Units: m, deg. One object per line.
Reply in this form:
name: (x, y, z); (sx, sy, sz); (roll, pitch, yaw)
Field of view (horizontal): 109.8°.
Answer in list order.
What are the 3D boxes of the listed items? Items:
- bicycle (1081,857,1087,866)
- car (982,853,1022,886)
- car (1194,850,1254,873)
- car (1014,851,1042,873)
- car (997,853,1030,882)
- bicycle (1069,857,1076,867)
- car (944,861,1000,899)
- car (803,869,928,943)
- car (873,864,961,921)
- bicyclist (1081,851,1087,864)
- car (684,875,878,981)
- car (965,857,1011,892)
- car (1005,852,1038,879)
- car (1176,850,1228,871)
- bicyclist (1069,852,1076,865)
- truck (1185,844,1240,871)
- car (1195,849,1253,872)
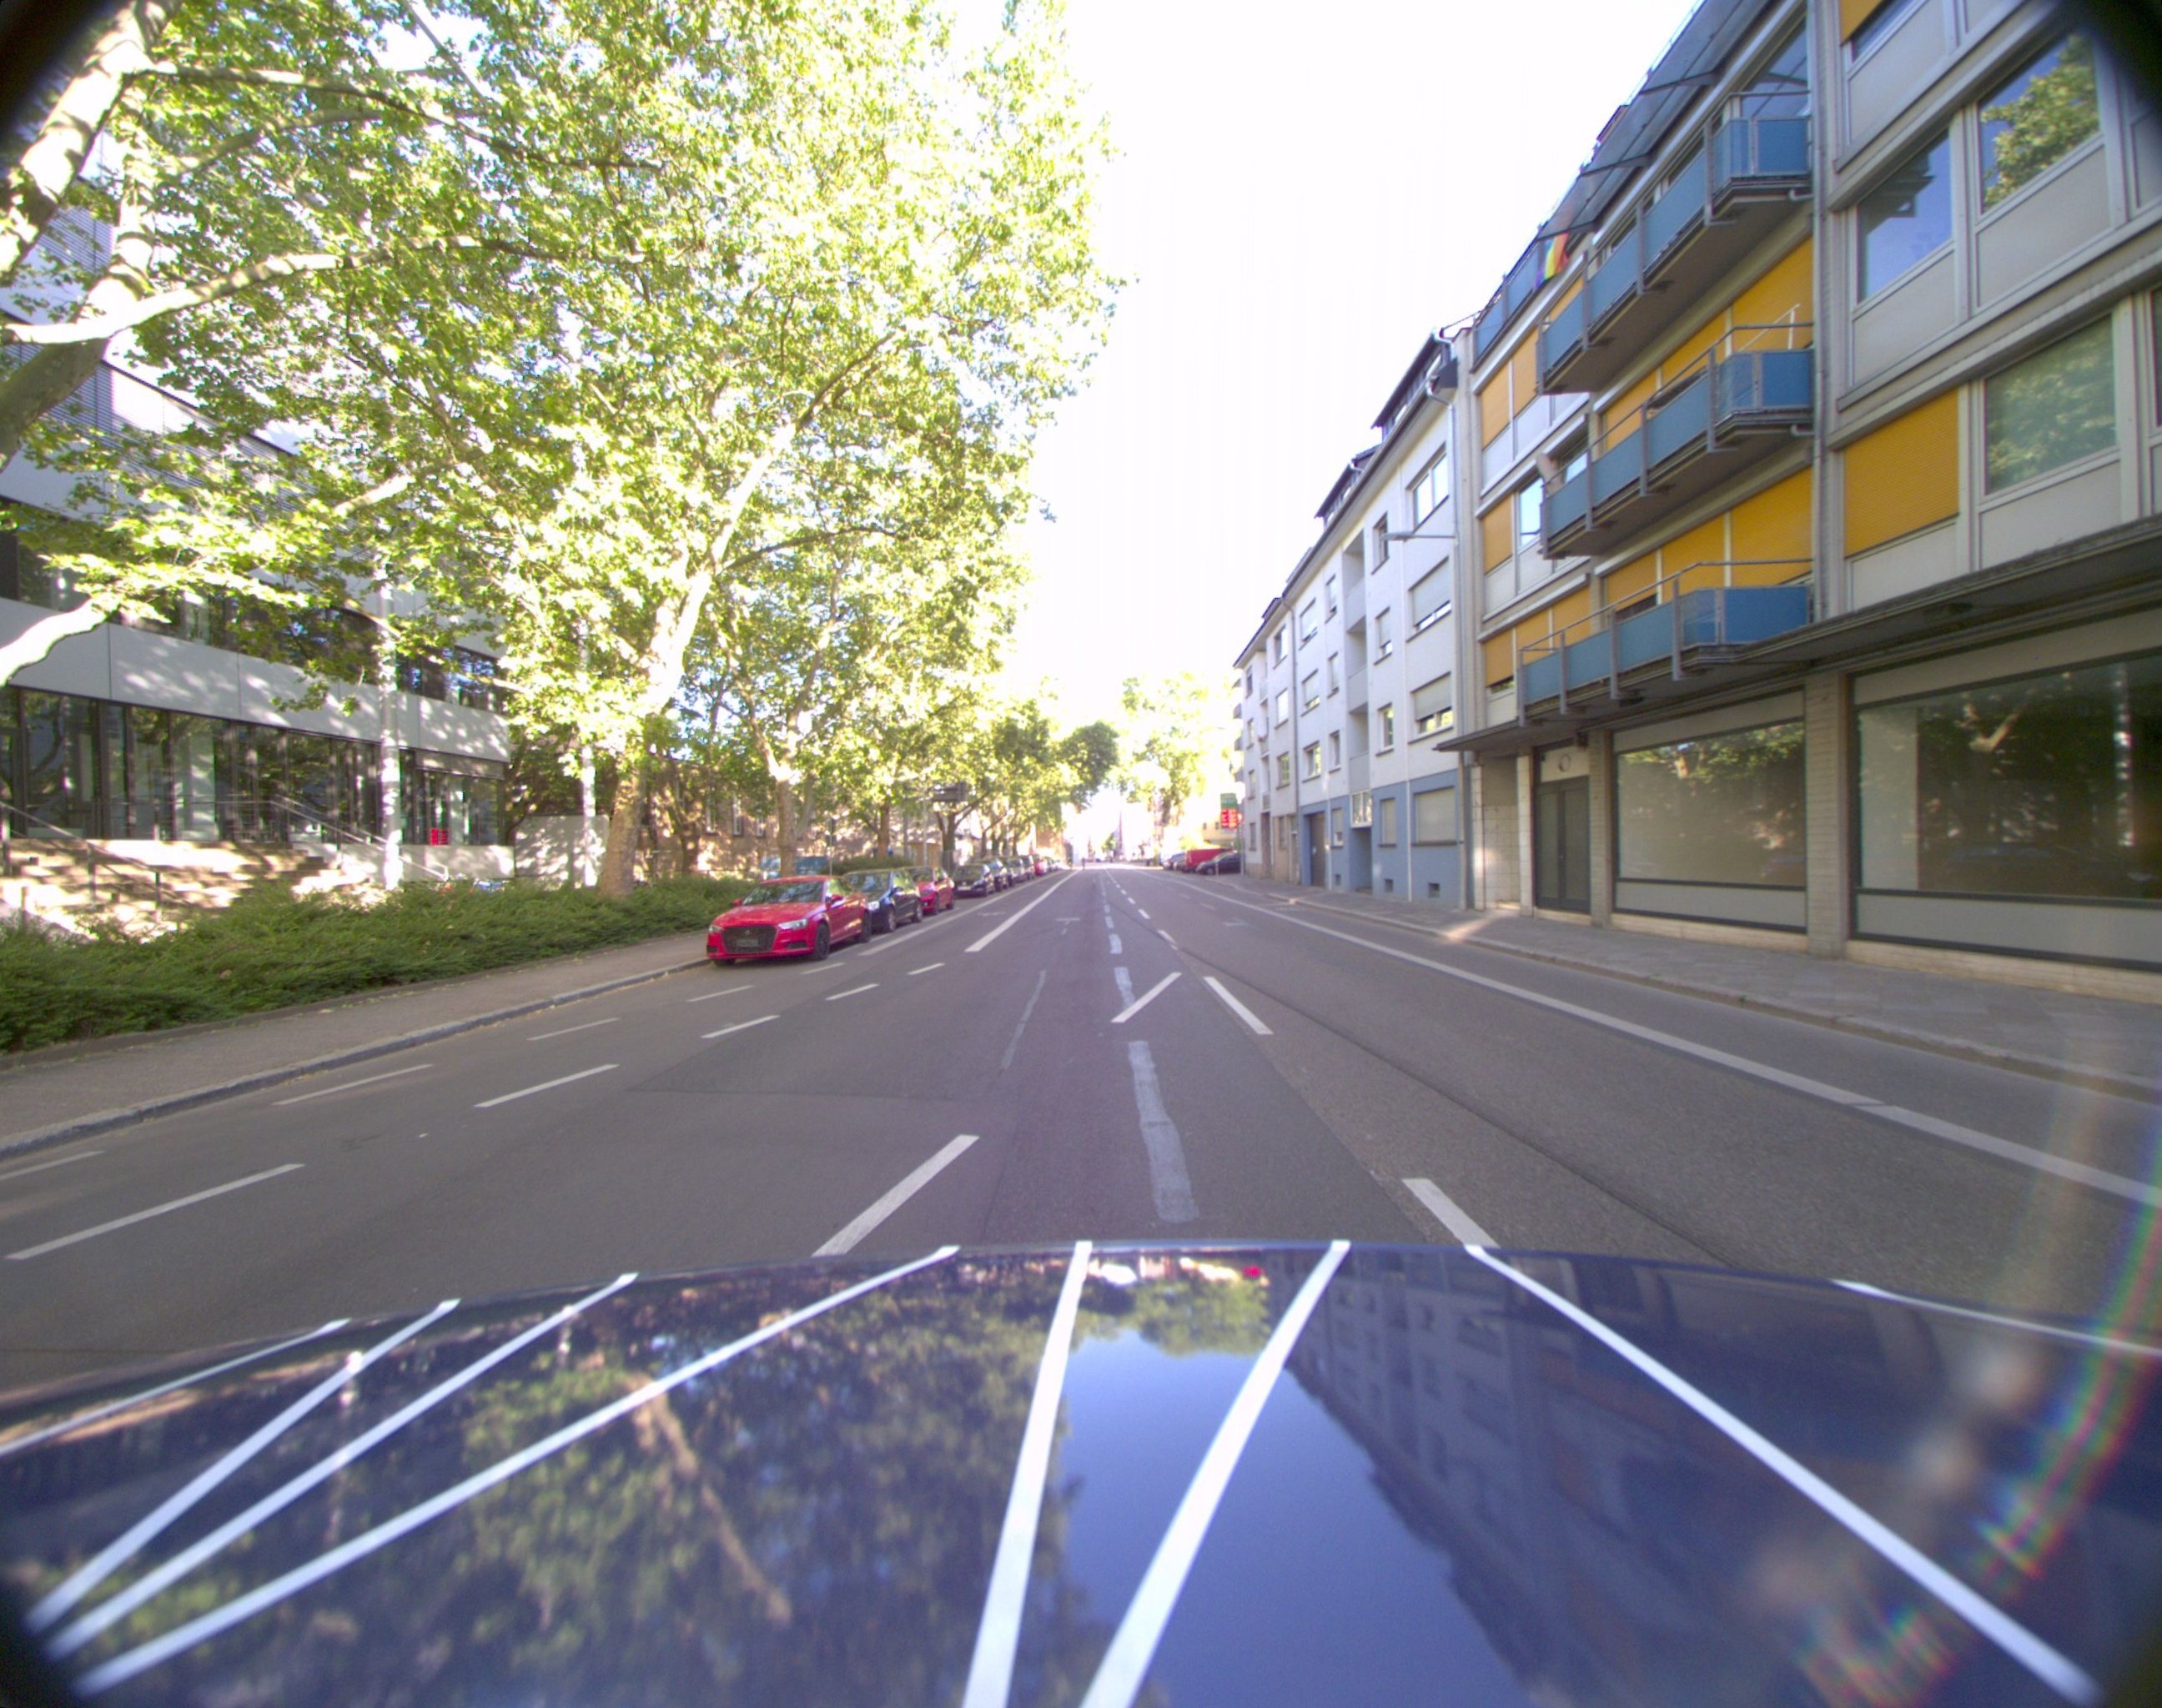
bicycle: (0.418, 0.895, 96.110); (0.717, 1.052, 2.485); (-2, 1, 1)
car: (-4.528, 0.869, 44.135); (1.790, 1.745, 4.345); (-3, 0, 0)
car: (10.250, 0.550, 54.782); (3.996, 1.449, 1.761); (-2, 1, 2)
car: (-4.596, 0.700, 66.079); (2.042, 1.745, 4.552); (-3, 0, 0)
car: (-4.450, 0.853, 50.690); (1.790, 1.745, 4.552); (-3, 0, 0)
bicycle: (-1.052, 0.996, 95.034); (0.717, 1.052, 2.485); (-2, 1, 1)
car: (-4.706, 1.078, 33.373); (1.790, 1.451, 4.163); (-3, 0, 0)
car: (-5.086, 1.171, 18.562); (1.818, 1.405, 4.163); (-3, 0, 0)
car: (-5.033, 1.125, 23.846); (1.818, 1.475, 4.163); (-3, 0, 0)
bicyclist: (0.391, 0.416, 95.784); (0.718, 1.573, 0.936); (-2, 1, 1)
car: (-5.141, 1.193, 13.706); (1.818, 1.405, 4.163); (-3, 0, 0)
car: (-4.605, 0.979, 38.118); (1.790, 1.544, 4.163); (-3, 0, 0)
car: (-4.321, 0.797, 55.649); (2.042, 1.745, 4.552); (-3, 0, 0)
car: (9.974, 0.530, 62.831); (3.996, 1.494, 1.761); (-2, 1, 2)
bicyclist: (-1.059, 0.503, 94.796); (0.718, 1.573, 0.936); (-2, 1, 1)
truck: (10.364, 0.249, 59.978); (3.996, 1.925, 1.761); (-2, 1, 2)
car: (10.724, 0.483, 57.129); (3.996, 1.494, 1.761); (-2, 1, 2)
